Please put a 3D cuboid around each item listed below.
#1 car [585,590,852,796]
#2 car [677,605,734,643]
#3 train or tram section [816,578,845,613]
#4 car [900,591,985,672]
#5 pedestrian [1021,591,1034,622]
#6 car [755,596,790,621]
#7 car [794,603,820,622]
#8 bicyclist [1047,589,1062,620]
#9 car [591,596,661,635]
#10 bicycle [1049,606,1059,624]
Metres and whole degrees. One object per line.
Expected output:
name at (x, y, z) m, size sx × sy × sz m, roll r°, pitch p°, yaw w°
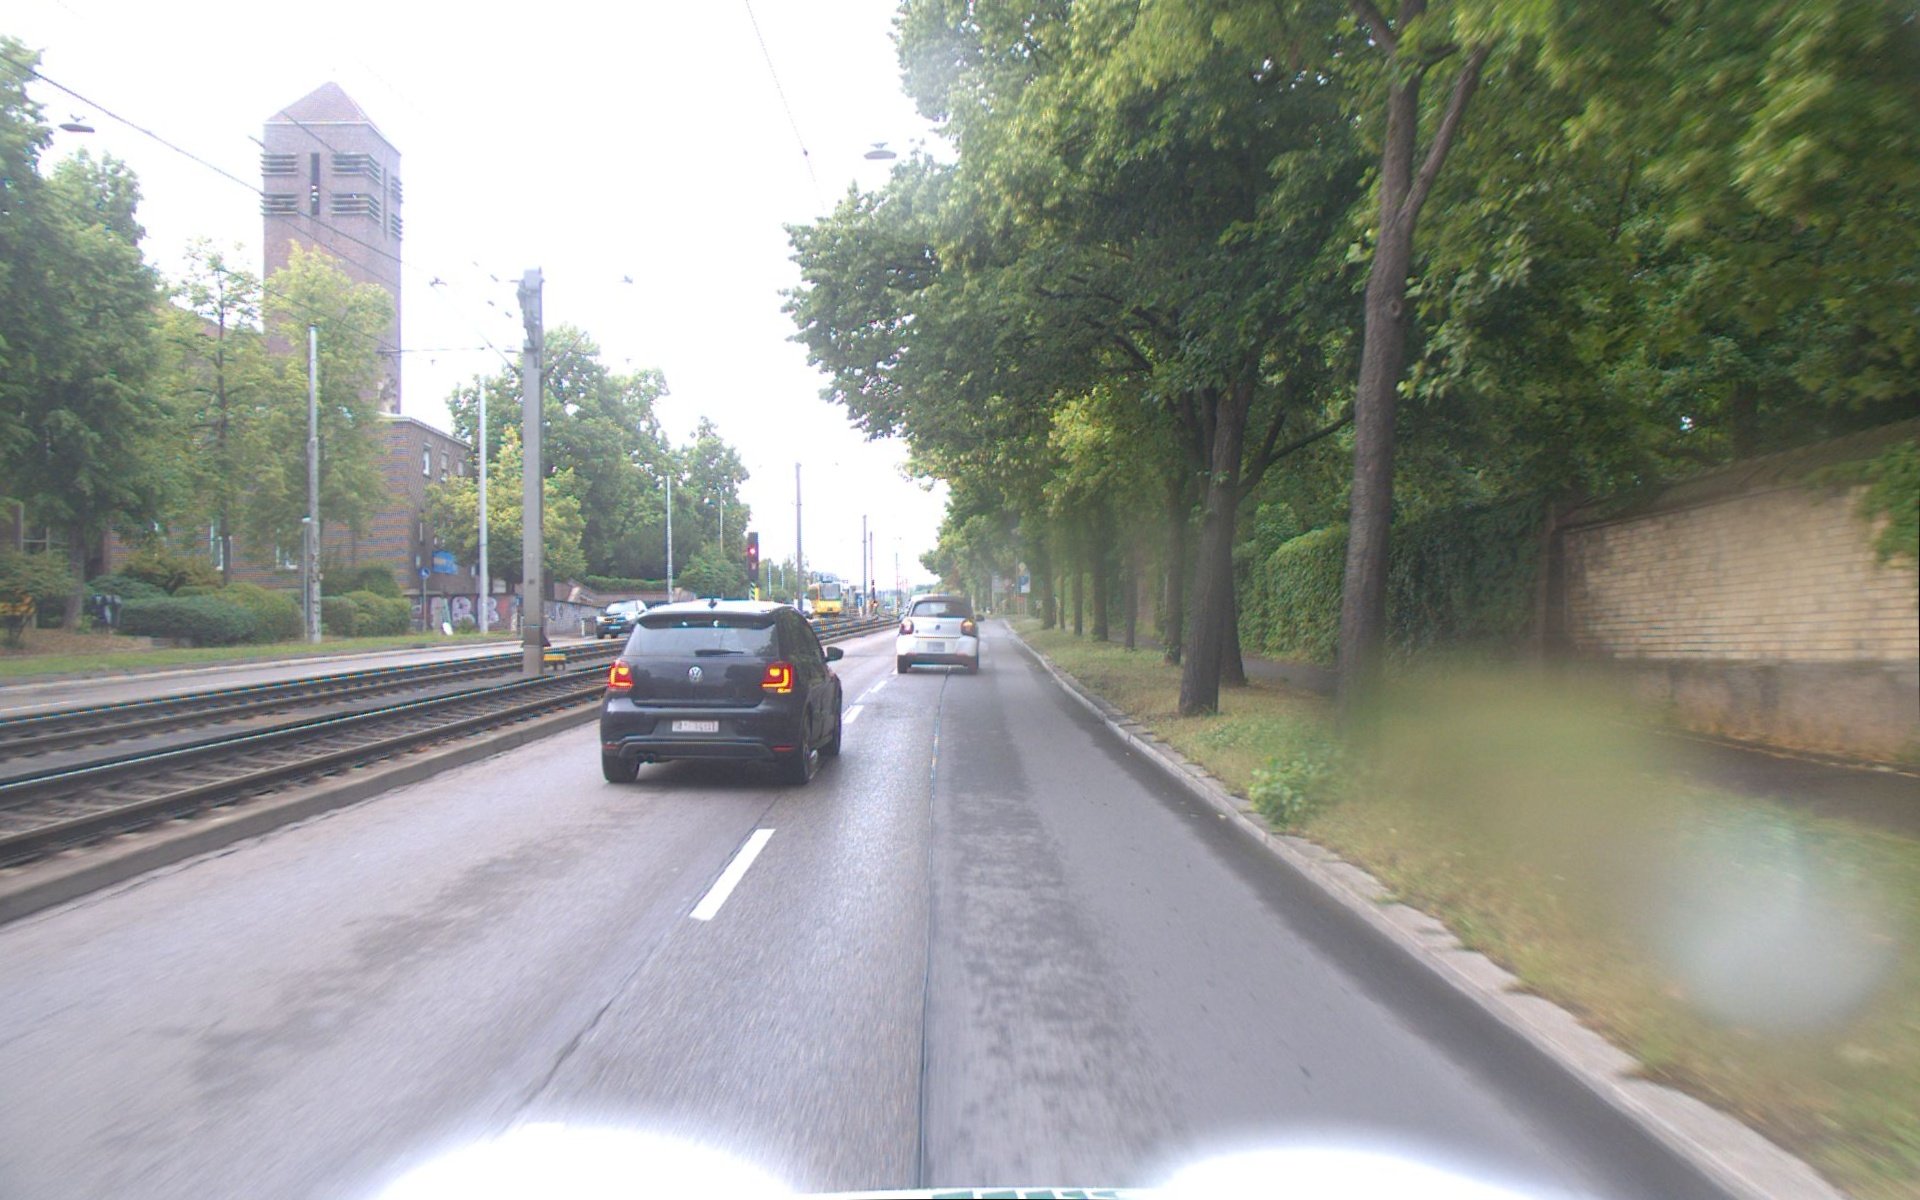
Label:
car at (-1.947, 0.688, 14.421) m, size 1.757 × 1.511 × 3.964 m, roll 1°, pitch 0°, yaw -1°
car at (-11.945, 1.123, 77.925) m, size 1.796 × 1.685 × 4.241 m, roll -1°, pitch 0°, yaw 3°
train or tram section at (-14.024, -0.537, 179.819) m, size 2.775 × 3.668 × 9.266 m, roll 1°, pitch 0°, yaw -2°
car at (-0.307, 0.605, 34.080) m, size 1.641 × 1.557 × 3.722 m, roll -1°, pitch 0°, yaw 1°
pedestrian at (6.610, 0.642, 162.362) m, size 1.140 × 3.029 × 0.948 m, roll 1°, pitch 0°, yaw 0°
car at (-11.646, 0.507, 102.983) m, size 1.646 × 1.487 × 3.609 m, roll -1°, pitch 0°, yaw 1°
car at (-14.234, 1.180, 153.975) m, size 1.953 × 1.691 × 5.126 m, roll 1°, pitch 0°, yaw 0°
bicyclist at (4.981, 0.240, 87.305) m, size 0.747 × 1.644 × 0.998 m, roll 0°, pitch 0°, yaw 0°
car at (-14.940, 0.657, 74.272) m, size 1.971 × 1.685 × 4.618 m, roll -1°, pitch 0°, yaw 3°
bicycle at (4.976, 0.782, 87.302) m, size 0.399 × 0.918 × 2.099 m, roll 0°, pitch 0°, yaw 0°
